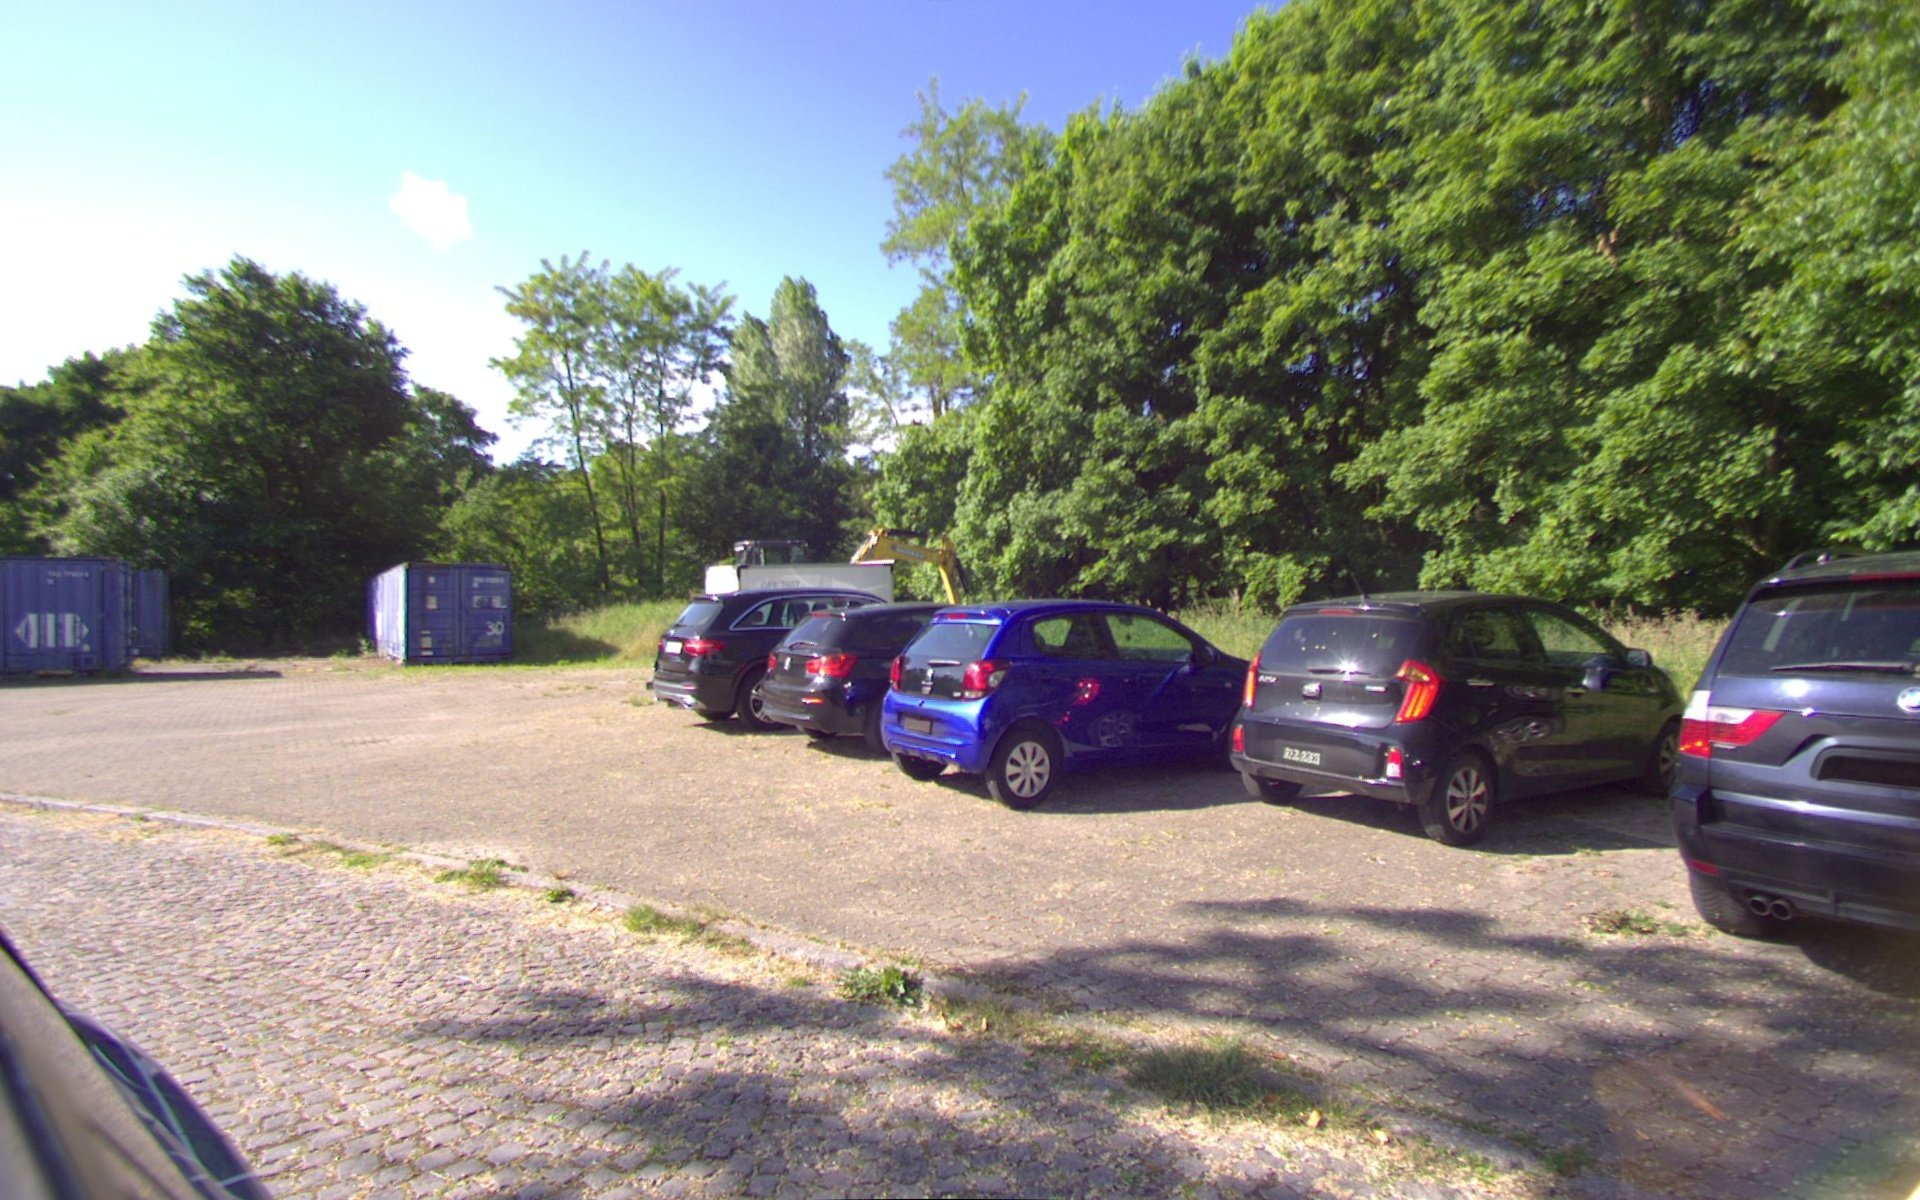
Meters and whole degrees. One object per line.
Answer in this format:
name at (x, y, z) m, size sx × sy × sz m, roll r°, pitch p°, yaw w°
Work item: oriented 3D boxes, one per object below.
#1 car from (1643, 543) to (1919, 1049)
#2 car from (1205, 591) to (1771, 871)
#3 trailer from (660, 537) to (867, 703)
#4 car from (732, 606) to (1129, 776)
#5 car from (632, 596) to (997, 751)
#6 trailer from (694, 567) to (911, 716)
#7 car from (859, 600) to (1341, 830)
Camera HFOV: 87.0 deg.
car at (4.888, 0.559, 4.385) m, size 4.203 × 1.643 × 1.885 m, roll -3°, pitch 1°, yaw -37°
car at (3.731, 0.706, 7.101) m, size 3.660 × 1.462 × 1.750 m, roll -1°, pitch 0°, yaw -28°
trailer at (-3.450, 0.279, 17.671) m, size 2.802 × 2.557 × 2.272 m, roll -4°, pitch 1°, yaw -32°
car at (-0.260, 0.808, 10.624) m, size 3.726 × 1.422 × 1.900 m, roll -1°, pitch 0°, yaw -34°
car at (-1.762, 0.780, 12.652) m, size 4.062 × 1.602 × 1.976 m, roll -1°, pitch 0°, yaw -34°
trailer at (-2.431, 0.567, 15.599) m, size 2.802 × 2.066 × 1.829 m, roll -1°, pitch 0°, yaw -32°
car at (1.236, 0.770, 8.493) m, size 3.726 × 1.469 × 1.790 m, roll -1°, pitch 0°, yaw -33°
